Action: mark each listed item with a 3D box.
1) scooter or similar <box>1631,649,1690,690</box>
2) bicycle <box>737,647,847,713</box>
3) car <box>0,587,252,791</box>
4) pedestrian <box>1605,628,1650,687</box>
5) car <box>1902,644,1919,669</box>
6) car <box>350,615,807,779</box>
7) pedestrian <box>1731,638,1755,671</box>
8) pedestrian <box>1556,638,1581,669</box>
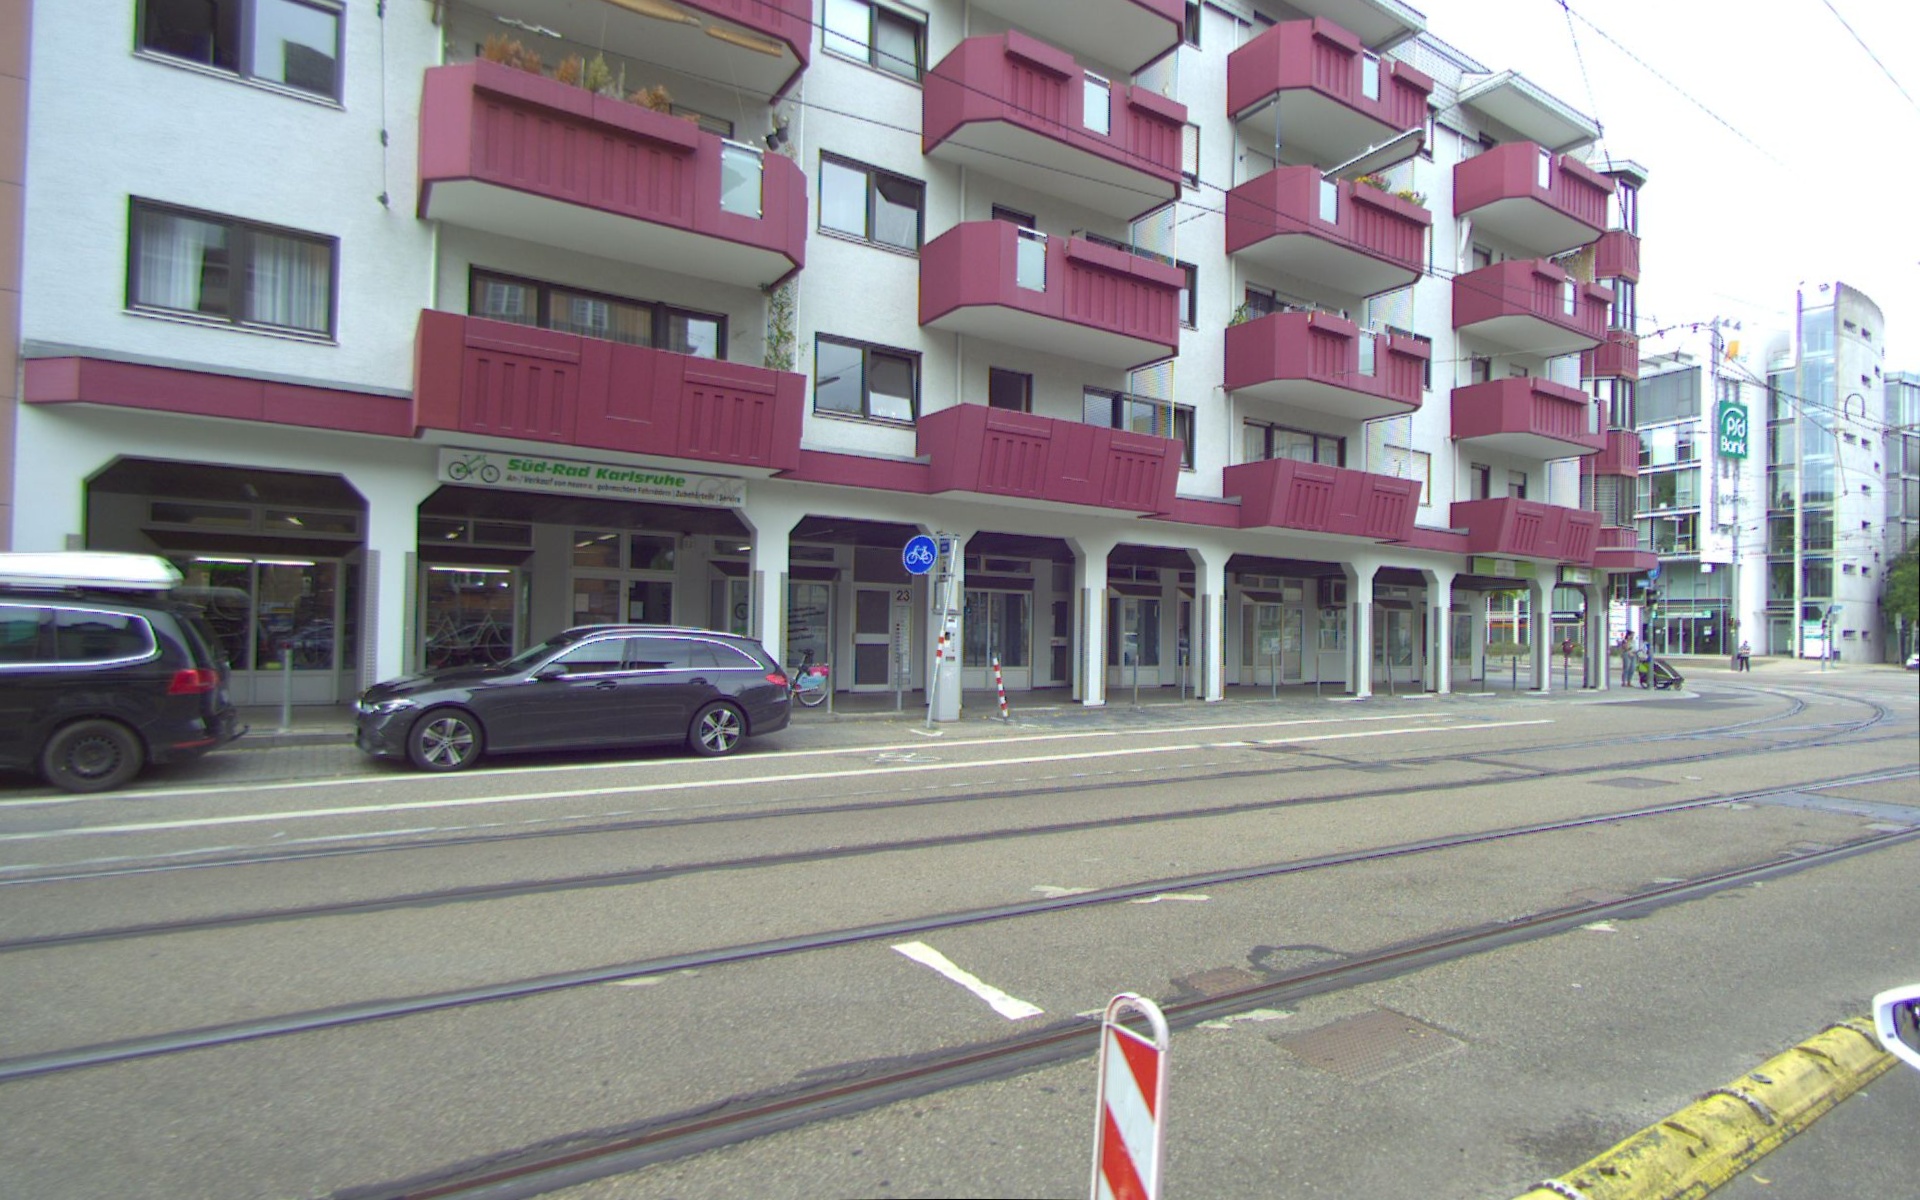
[{"bbox_3d":[21.087,2.080,30.249,0.936,1.143,1.189,2,-1,-33],"label":"scooter or similar"},{"bbox_3d":[-2.630,1.239,15.826,1.636,0.966,0.559,2,-2,-39],"label":"bicycle"},{"bbox_3d":[-9.068,0.714,8.690,4.646,1.669,1.796,2,0,-32],"label":"car"},{"bbox_3d":[20.593,1.759,30.994,0.804,1.766,0.942,2,-2,-34],"label":"pedestrian"},{"bbox_3d":[64.083,3.733,66.046,4.162,1.577,1.823,2,0,-27],"label":"car"},{"bbox_3d":[-4.269,1.010,11.537,4.646,1.499,1.745,2,0,-32],"label":"car"},{"bbox_3d":[46.452,3.226,59.570,0.754,1.889,0.833,1,-2,-18],"label":"pedestrian"},{"bbox_3d":[33.284,2.921,54.949,0.754,1.693,0.934,1,-2,-18],"label":"pedestrian"}]
